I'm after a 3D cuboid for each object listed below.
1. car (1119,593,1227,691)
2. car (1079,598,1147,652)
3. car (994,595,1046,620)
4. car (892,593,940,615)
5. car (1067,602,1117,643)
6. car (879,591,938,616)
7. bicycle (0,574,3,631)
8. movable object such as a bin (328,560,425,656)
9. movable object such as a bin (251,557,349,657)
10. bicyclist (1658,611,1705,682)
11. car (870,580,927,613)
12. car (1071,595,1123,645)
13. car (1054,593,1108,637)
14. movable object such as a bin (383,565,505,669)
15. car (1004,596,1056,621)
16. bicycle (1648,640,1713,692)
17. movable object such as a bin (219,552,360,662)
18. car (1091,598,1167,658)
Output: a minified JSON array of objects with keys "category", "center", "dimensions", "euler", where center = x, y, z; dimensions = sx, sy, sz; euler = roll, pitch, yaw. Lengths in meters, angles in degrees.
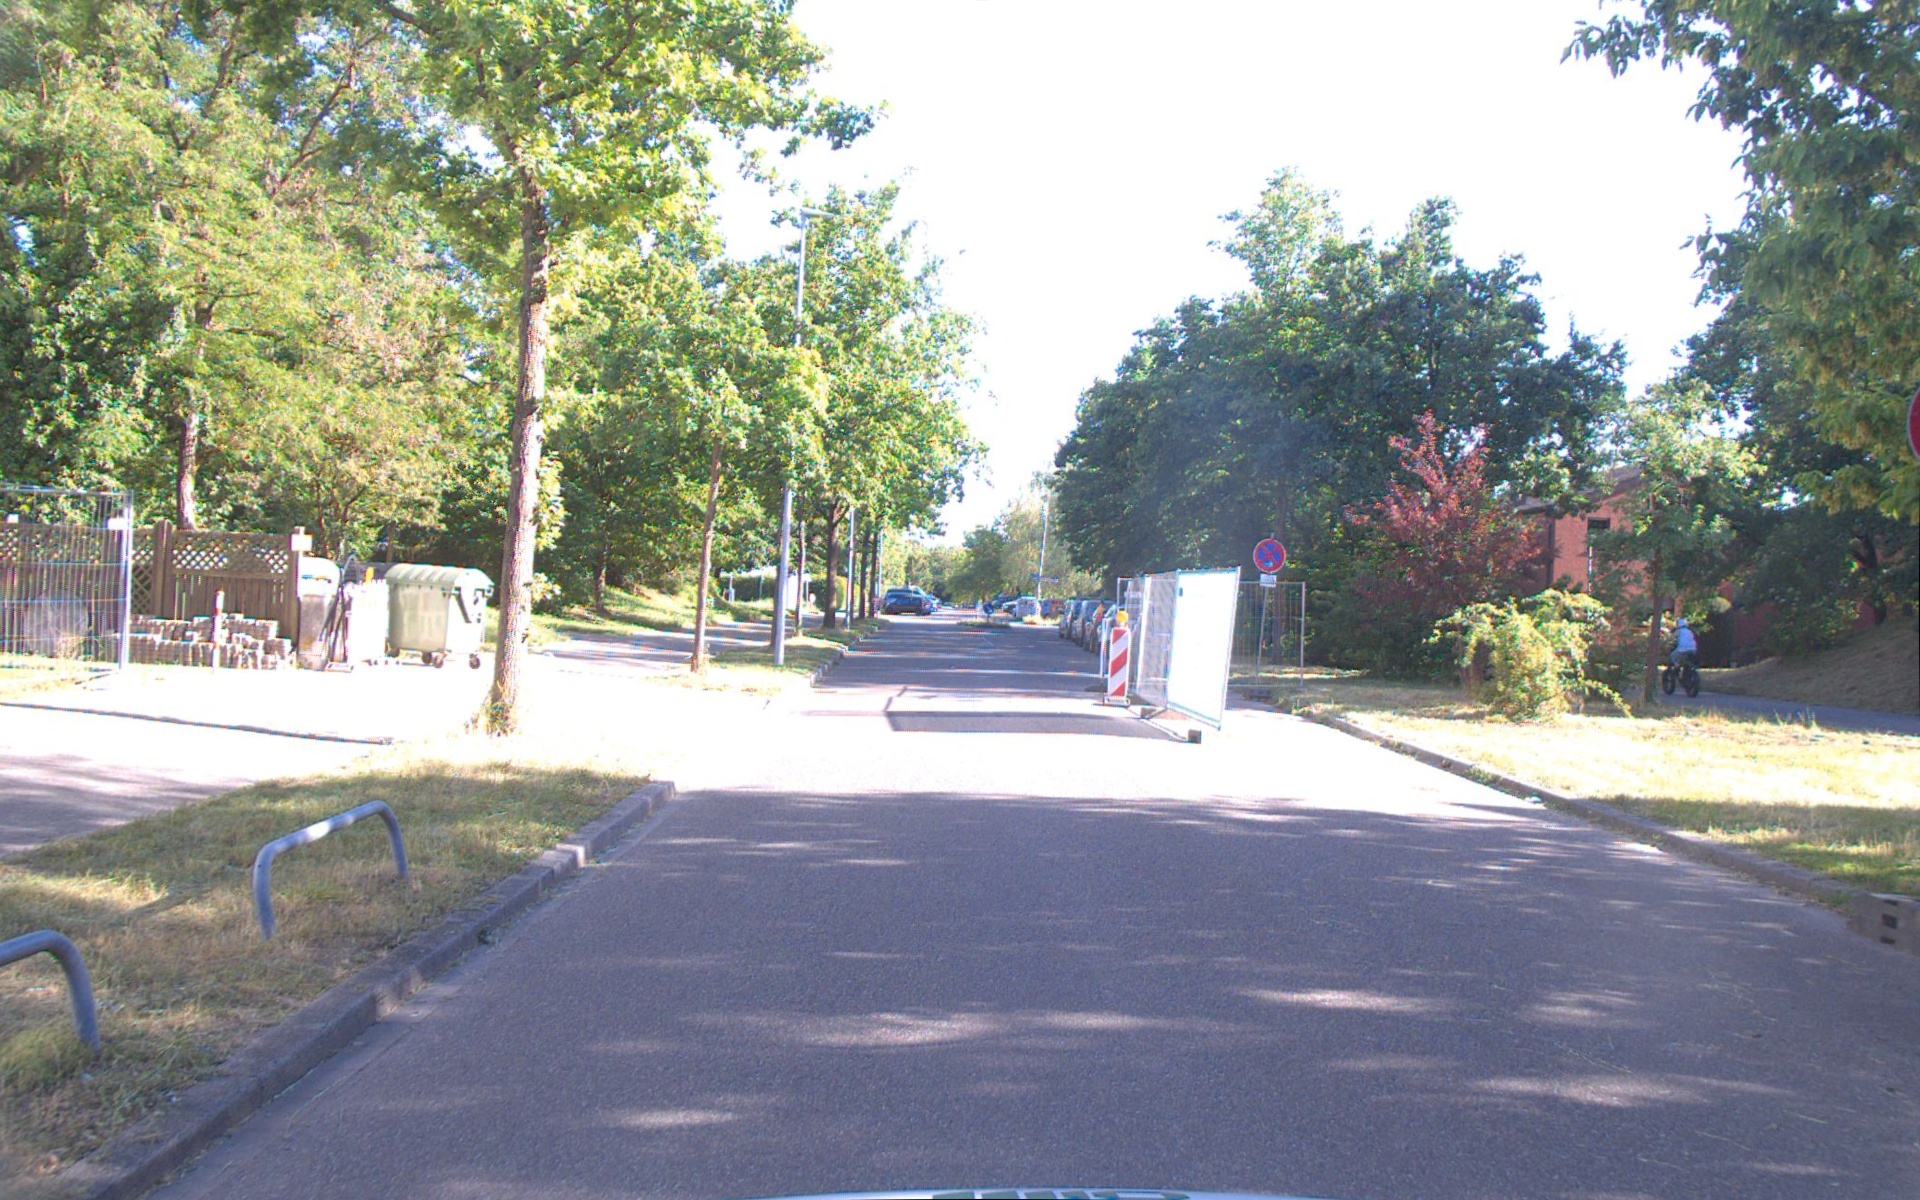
[{"category":"car","center":[4.161,0.785,32.911],"dimensions":[1.772,1.679,4.423],"euler":[4,0,4]},{"category":"car","center":[5.156,0.820,56.220],"dimensions":[1.740,1.649,4.063],"euler":[4,0,-1]},{"category":"car","center":[4.632,0.578,127.615],"dimensions":[3.758,1.604,1.689],"euler":[4,0,6]},{"category":"car","center":[-3.861,0.369,145.578],"dimensions":[4.022,1.604,1.959],"euler":[4,0,2]},{"category":"car","center":[5.511,0.909,69.248],"dimensions":[1.657,1.538,4.206],"euler":[4,0,0]},{"category":"car","center":[-4.001,0.263,129.274],"dimensions":[4.227,1.604,2.047],"euler":[4,0,6]},{"category":"bicycle","center":[-10.007,0.235,15.328],"dimensions":[1.881,1.045,0.399],"euler":[3,-1,-13]},{"category":"movable object such as a bin","center":[-9.231,0.118,26.143],"dimensions":[1.131,1.460,1.258],"euler":[2,0,-34]},{"category":"movable object such as a bin","center":[-10.120,0.103,25.334],"dimensions":[1.131,1.460,1.258],"euler":[2,0,-34]},{"category":"bicyclist","center":[16.072,1.034,36.850],"dimensions":[0.619,1.526,0.840],"euler":[3,0,-1]},{"category":"car","center":[-5.766,-0.343,154.517],"dimensions":[5.099,2.666,2.291],"euler":[4,0,-5]},{"category":"car","center":[5.293,0.751,64.171],"dimensions":[1.590,1.804,3.669],"euler":[4,0,0]},{"category":"car","center":[5.486,0.668,75.395],"dimensions":[1.756,1.816,4.554],"euler":[4,0,-3]},{"category":"movable object such as a bin","center":[-7.630,0.240,24.508],"dimensions":[1.242,1.460,1.182],"euler":[2,0,16]},{"category":"car","center":[5.279,0.675,124.794],"dimensions":[3.758,1.604,1.689],"euler":[4,0,6]},{"category":"bicycle","center":[16.046,1.460,36.881],"dimensions":[0.619,1.058,1.785],"euler":[3,0,-1]},{"category":"movable object such as a bin","center":[-9.428,0.099,23.290],"dimensions":[1.245,1.460,1.324],"euler":[2,0,28]},{"category":"car","center":[5.155,0.820,50.899],"dimensions":[1.740,1.649,4.063],"euler":[4,0,-1]}]
